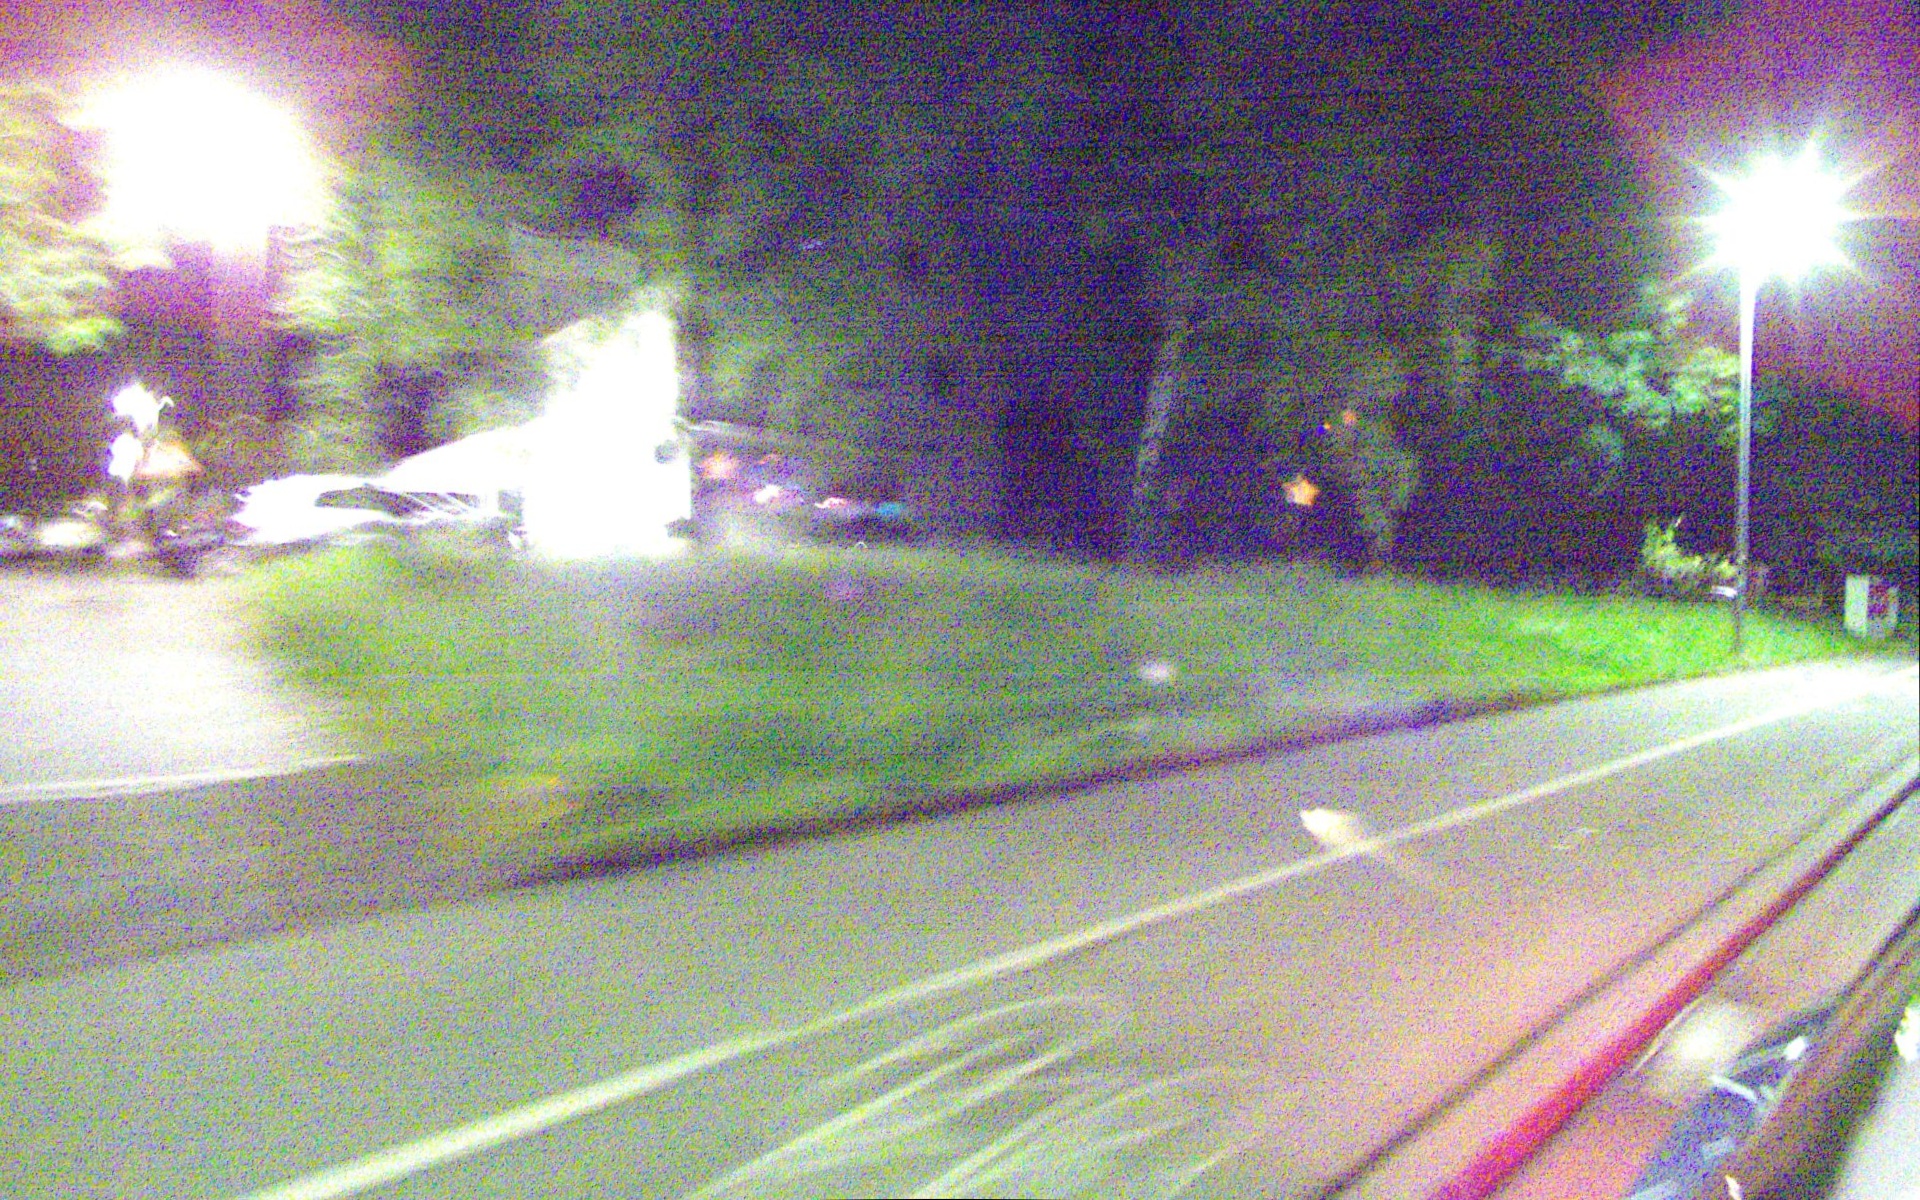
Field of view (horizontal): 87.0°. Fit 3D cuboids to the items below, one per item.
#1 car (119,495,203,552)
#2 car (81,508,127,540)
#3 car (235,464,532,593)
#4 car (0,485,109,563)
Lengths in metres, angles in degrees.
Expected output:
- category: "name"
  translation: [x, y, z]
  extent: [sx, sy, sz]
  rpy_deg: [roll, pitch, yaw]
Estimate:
- category: "car"
  translation: [-27.028, -2.577, 34.170]
  extent: [1.924, 1.759, 4.203]
  rpy_deg: [0, 3, -43]
- category: "car"
  translation: [-51.124, -4.546, 60.409]
  extent: [1.924, 1.759, 4.203]
  rpy_deg: [0, 3, -43]
- category: "car"
  translation: [-9.524, -1.114, 16.841]
  extent: [4.039, 1.860, 1.957]
  rpy_deg: [0, 3, -38]
- category: "car"
  translation: [-22.890, -1.896, 25.581]
  extent: [1.924, 1.759, 4.203]
  rpy_deg: [0, 3, -43]
